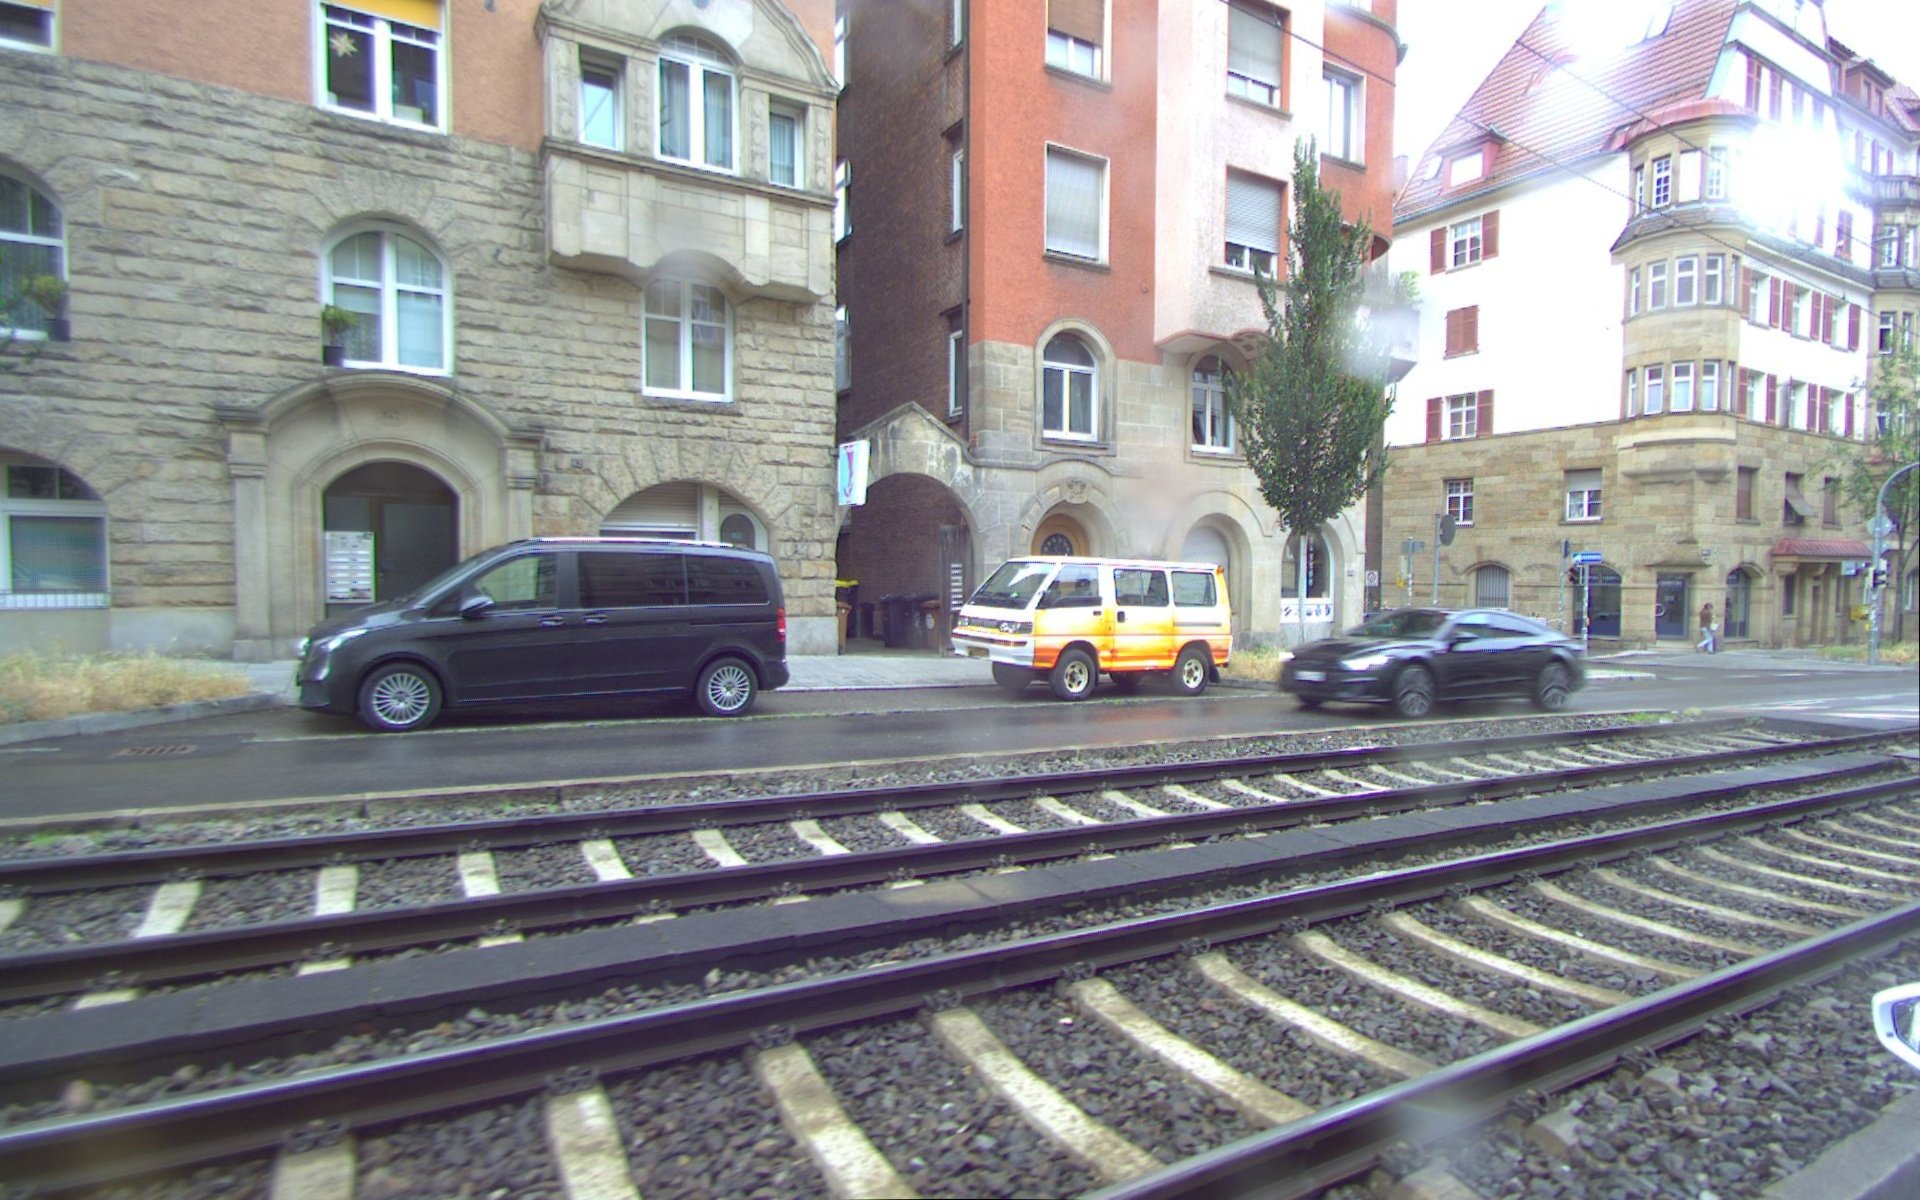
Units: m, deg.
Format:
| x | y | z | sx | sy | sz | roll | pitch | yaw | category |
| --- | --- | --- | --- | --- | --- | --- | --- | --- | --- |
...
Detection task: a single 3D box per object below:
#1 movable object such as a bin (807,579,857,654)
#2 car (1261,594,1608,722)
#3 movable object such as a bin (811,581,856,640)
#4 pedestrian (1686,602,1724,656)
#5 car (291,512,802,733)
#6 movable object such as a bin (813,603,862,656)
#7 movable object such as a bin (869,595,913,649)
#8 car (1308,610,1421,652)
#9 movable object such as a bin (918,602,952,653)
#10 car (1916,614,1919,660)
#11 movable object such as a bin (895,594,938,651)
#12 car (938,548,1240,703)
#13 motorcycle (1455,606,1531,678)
| x | y | z | sx | sy | sz | roll | pitch | yaw | category |
| --- | --- | --- | --- | --- | --- | --- | --- | --- | --- |
| -2.411 | 0.299 | 18.874 | 0.648 | 1.360 | 0.903 | 1 | 1 | -27 | movable object such as a bin |
| 6.764 | 0.755 | 14.209 | 4.900 | 1.544 | 1.797 | 1 | 0 | -27 | car |
| -2.915 | 0.230 | 23.068 | 0.676 | 1.324 | 1.154 | 1 | 1 | -26 | movable object such as a bin |
| 23.904 | 0.923 | 32.240 | 0.689 | 1.695 | 0.633 | 2 | 0 | -2 | pedestrian |
| -4.357 | 0.256 | 11.006 | 4.769 | 1.968 | 1.984 | 2 | 0 | -30 | car |
| -2.196 | 0.521 | 18.002 | 0.627 | 0.918 | 0.793 | 1 | 1 | -27 | movable object such as a bin |
| -1.388 | 0.442 | 20.097 | 0.607 | 1.053 | 0.793 | 1 | -1 | -27 | movable object such as a bin |
| 15.159 | 1.140 | 37.753 | 1.683 | 1.423 | 3.618 | 2 | 0 | -34 | car |
| -0.478 | 0.514 | 19.042 | 0.442 | 0.957 | 0.557 | 1 | -1 | -27 | movable object such as a bin |
| 34.866 | 1.329 | 34.760 | 3.994 | 1.573 | 1.741 | 2 | 0 | -34 | car |
| -0.850 | 0.438 | 19.550 | 0.607 | 1.090 | 0.679 | 1 | -1 | -27 | movable object such as a bin |
| 1.970 | 0.381 | 14.850 | 4.295 | 2.001 | 1.721 | 2 | 0 | -32 | car |
| 10.801 | 0.833 | 20.410 | 0.612 | 1.384 | 1.596 | 2 | 0 | -3 | motorcycle |
